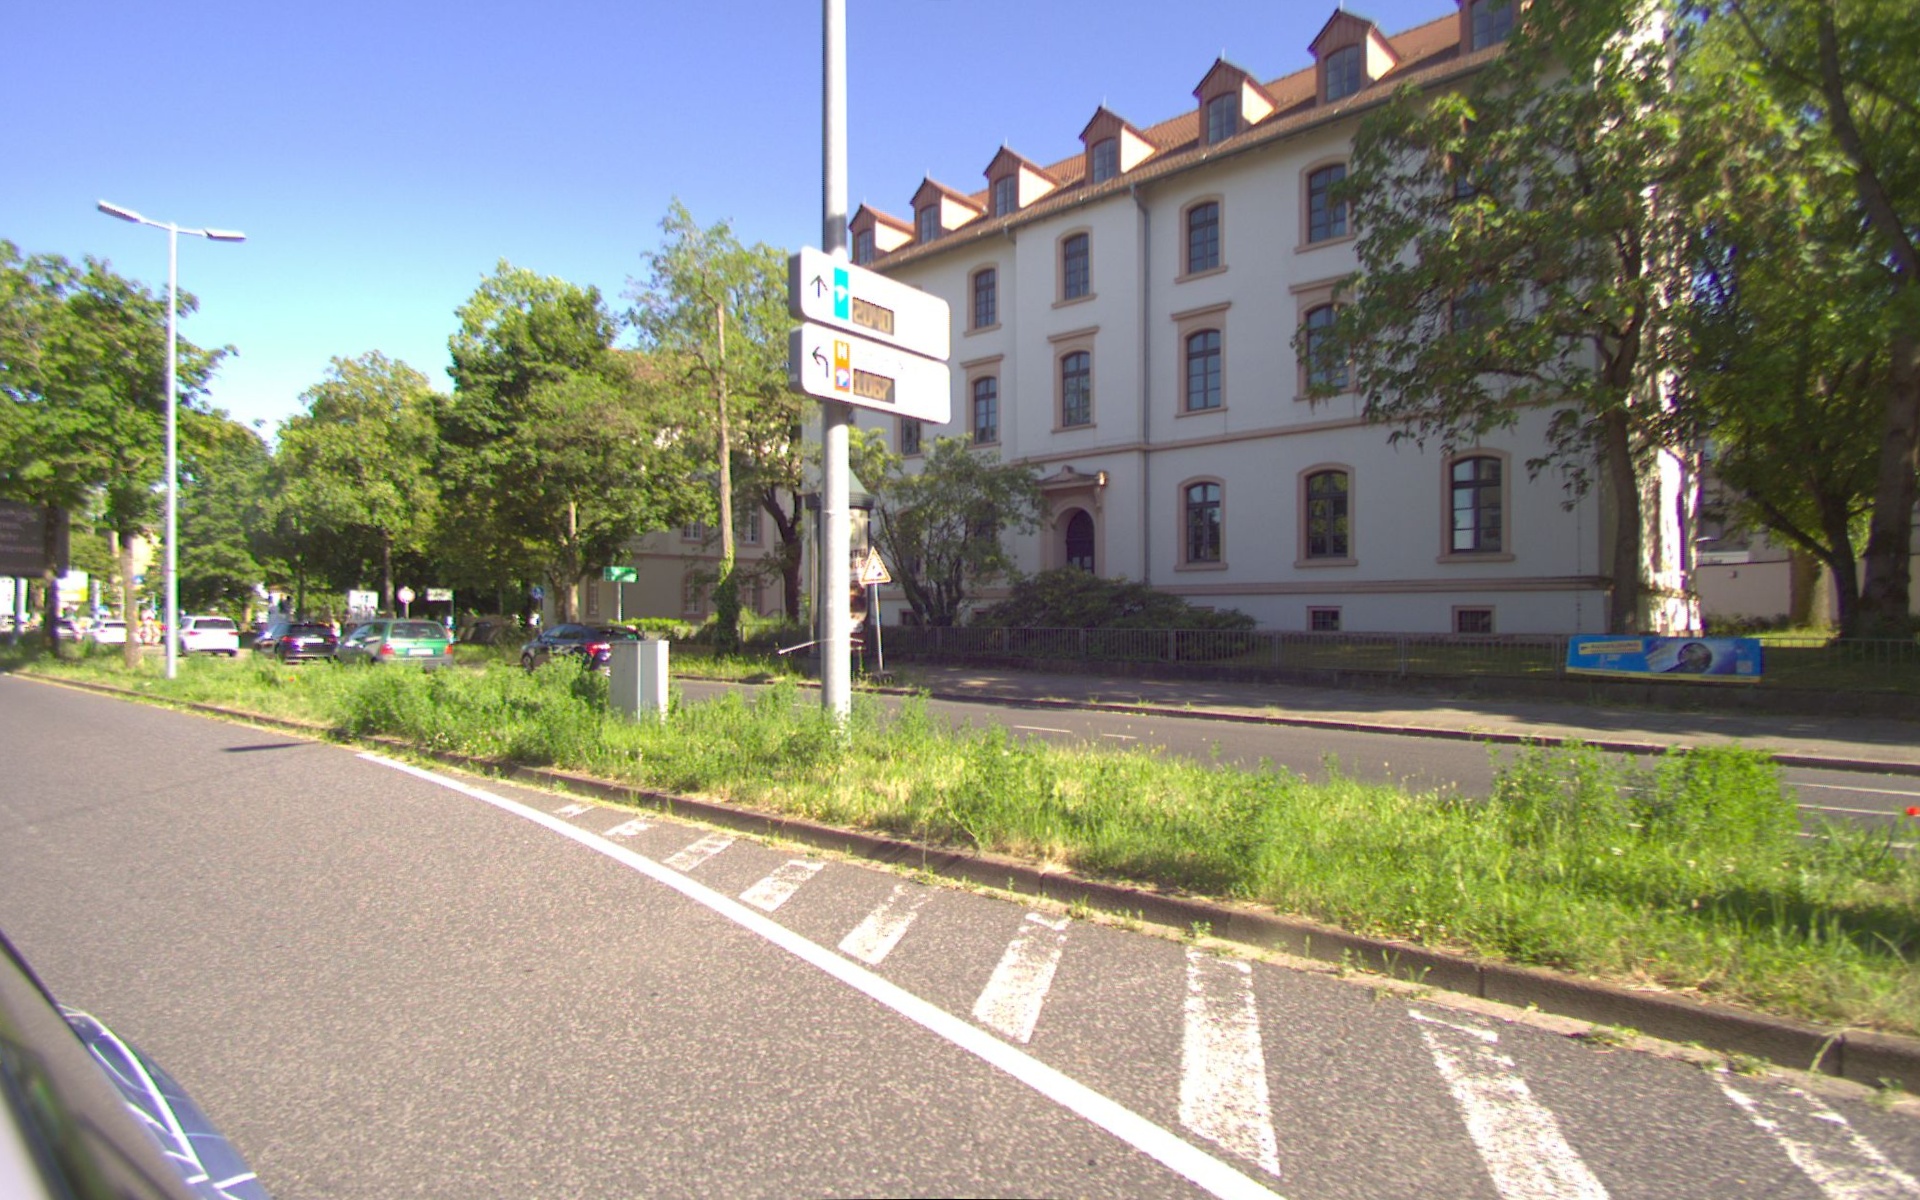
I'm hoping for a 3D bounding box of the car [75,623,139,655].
[{"bbox_3d":[-43.621,1.973,51.727,4.664,1.530,1.819,-1,-1,41],"label":"car"}]

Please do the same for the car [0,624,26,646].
[{"bbox_3d":[-68.520,2.463,72.529,4.254,1.530,1.778,-1,-1,39],"label":"car"}]

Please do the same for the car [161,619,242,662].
[{"bbox_3d":[-30.695,1.615,40.892,4.538,1.638,1.879,-1,-2,44],"label":"car"}]

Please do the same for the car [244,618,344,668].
[{"bbox_3d":[-22.267,1.407,33.775,4.086,1.530,1.776,0,-2,42],"label":"car"}]

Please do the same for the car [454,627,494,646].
[{"bbox_3d":[-35.284,2.601,73.441,1.744,1.333,3.507,1,-2,-40],"label":"car"}]

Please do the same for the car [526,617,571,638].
[{"bbox_3d":[-36.135,2.383,88.773,4.682,1.503,1.625,3,2,40],"label":"car"}]

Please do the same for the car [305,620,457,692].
[{"bbox_3d":[-13.401,1.227,23.332,4.254,1.530,1.622,-1,-2,39],"label":"car"}]

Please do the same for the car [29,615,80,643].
[{"bbox_3d":[-55.408,1.754,61.901,4.255,1.530,1.777,1,1,40],"label":"car"}]

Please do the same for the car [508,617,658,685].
[{"bbox_3d":[-9.457,1.195,25.205,4.425,1.530,1.775,-1,0,44],"label":"car"}]
